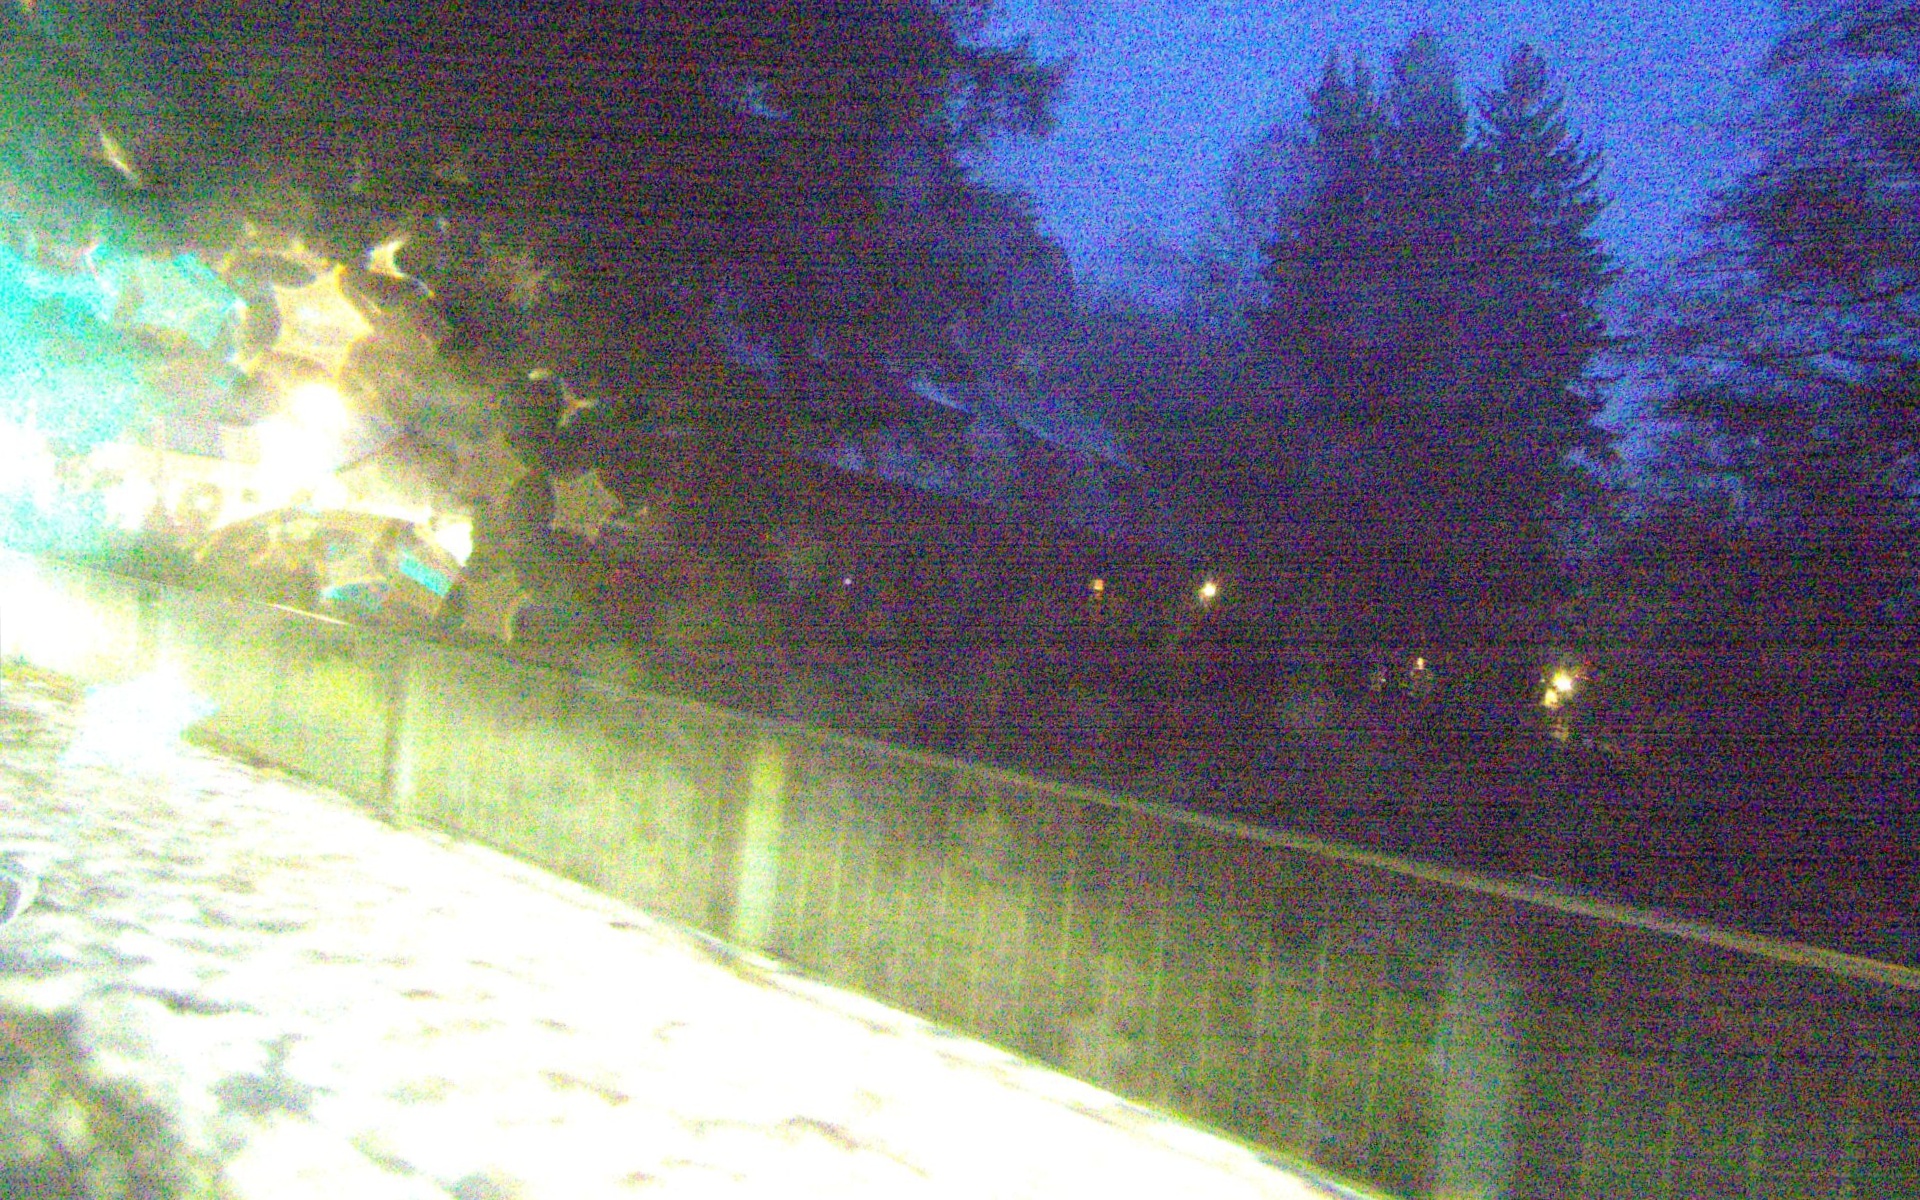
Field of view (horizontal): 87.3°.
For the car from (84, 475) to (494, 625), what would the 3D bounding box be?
[{"bbox_3d":[-9.308,-0.628,14.249,1.912,1.607,4.456,8,3,42],"label":"car"}]
